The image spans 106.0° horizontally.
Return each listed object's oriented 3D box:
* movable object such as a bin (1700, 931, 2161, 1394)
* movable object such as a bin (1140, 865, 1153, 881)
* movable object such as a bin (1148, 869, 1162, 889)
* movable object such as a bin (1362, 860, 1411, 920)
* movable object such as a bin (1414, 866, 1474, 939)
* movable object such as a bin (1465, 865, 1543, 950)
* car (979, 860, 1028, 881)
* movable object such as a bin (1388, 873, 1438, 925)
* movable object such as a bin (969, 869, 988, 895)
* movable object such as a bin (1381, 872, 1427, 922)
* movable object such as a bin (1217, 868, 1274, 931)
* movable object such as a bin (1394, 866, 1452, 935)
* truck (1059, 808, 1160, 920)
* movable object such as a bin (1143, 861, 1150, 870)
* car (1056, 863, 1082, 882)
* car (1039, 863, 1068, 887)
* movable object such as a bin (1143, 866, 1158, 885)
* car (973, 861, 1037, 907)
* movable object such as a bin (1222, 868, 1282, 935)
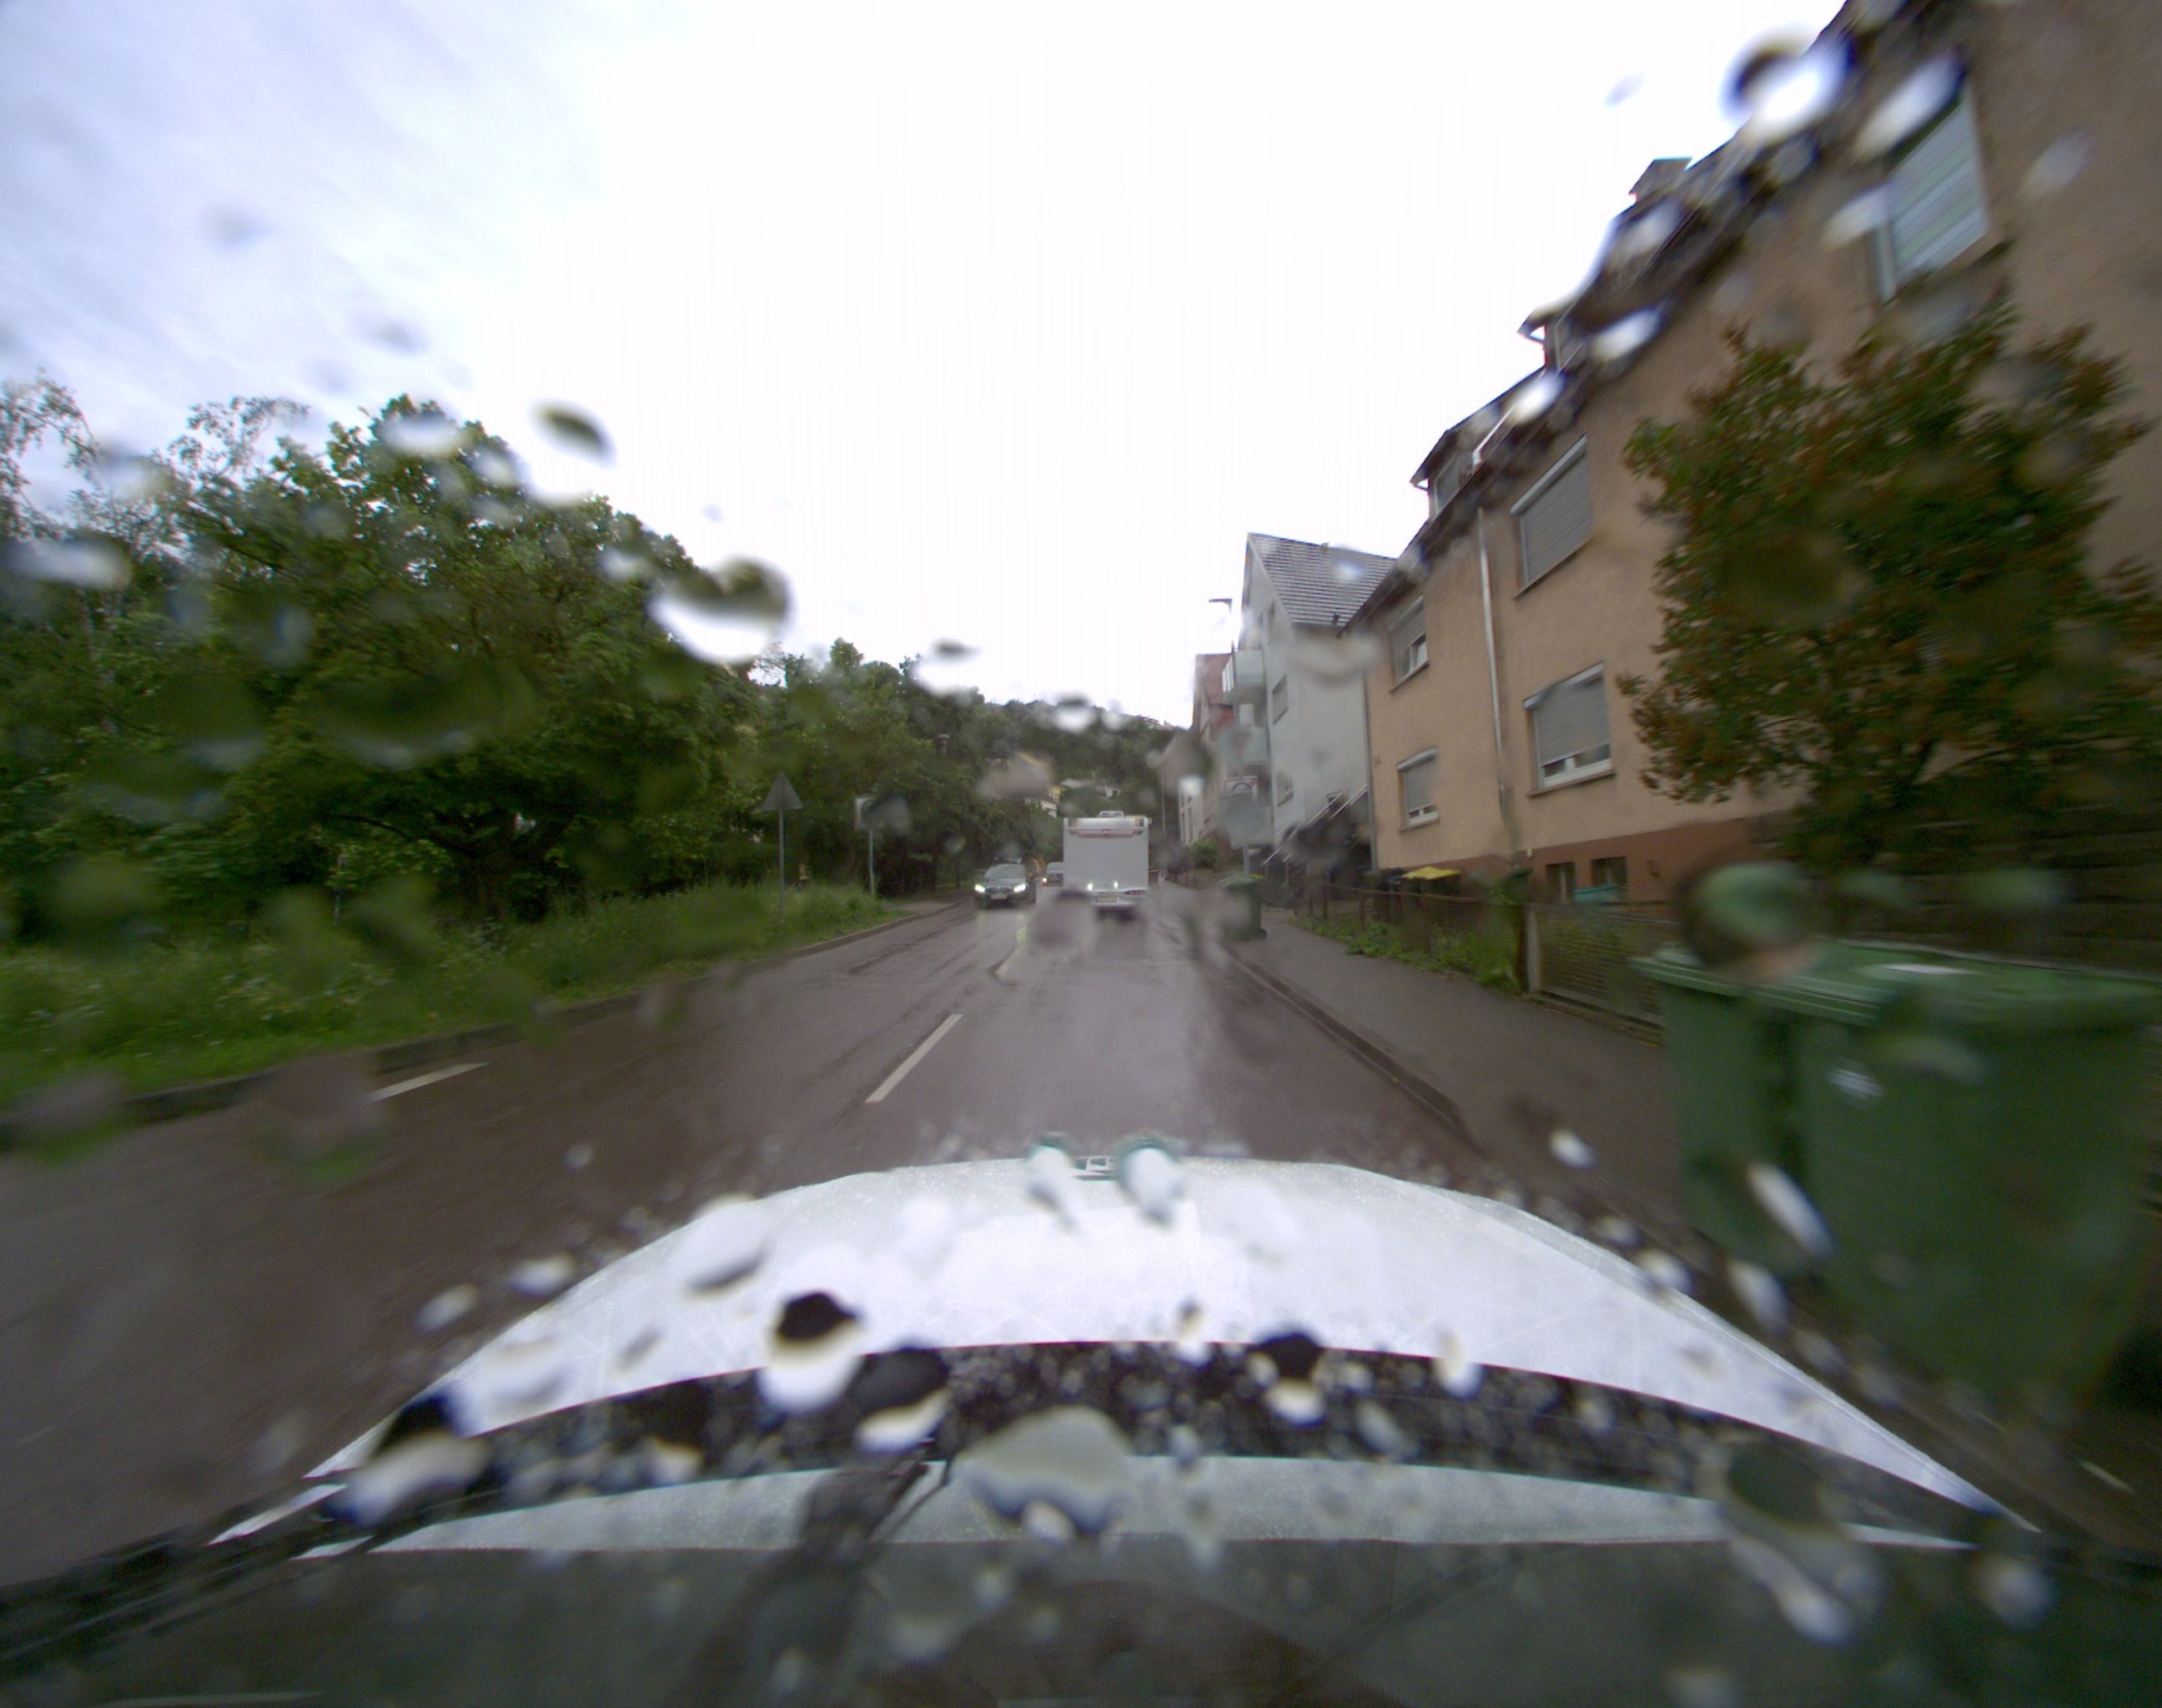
[{"bbox_3d":[2.482,0.791,2.393,0.716,1.052,0.801,-1,-1,4],"label":"movable object such as a bin"},{"bbox_3d":[4.347,1.274,54.159,0.832,1.061,0.750,-1,-1,3],"label":"movable object such as a bin"},{"bbox_3d":[3.556,1.198,39.270,0.628,0.897,0.712,-1,-1,2],"label":"movable object such as a bin"},{"bbox_3d":[5.948,0.695,15.886,0.658,1.093,0.545,-5,-1,-1],"label":"movable object such as a bin"},{"bbox_3d":[5.921,0.780,13.312,0.643,1.093,0.545,-5,-1,-1],"label":"movable object such as a bin"},{"bbox_3d":[5.878,0.730,11.357,0.658,1.093,0.655,-5,-1,0],"label":"movable object such as a bin"},{"bbox_3d":[-7.084,1.495,74.704,4.088,1.800,2.002,-1,-1,3],"label":"car"},{"bbox_3d":[5.986,0.798,14.698,0.667,0.895,0.536,-1,-1,1],"label":"movable object such as a bin"},{"bbox_3d":[-4.412,1.217,35.169,0.718,1.100,0.758,0,-1,2],"label":"movable object such as a bin"},{"bbox_3d":[6.053,0.802,15.275,0.635,0.895,0.536,-1,-1,1],"label":"movable object such as a bin"},{"bbox_3d":[3.008,0.820,14.945,0.910,1.103,0.703,-1,-1,4],"label":"movable object such as a bin"},{"bbox_3d":[5.852,0.788,13.968,0.658,1.093,0.545,-5,-1,-1],"label":"movable object such as a bin"},{"bbox_3d":[0.850,0.293,23.857,2.505,2.818,6.204,-1,-1,2],"label":"truck"},{"bbox_3d":[7.976,1.408,99.459,0.670,1.139,0.620,-1,-1,-28],"label":"movable object such as a bin"},{"bbox_3d":[-1.055,1.605,73.298,1.909,1.623,4.367,-1,-1,4],"label":"car"},{"bbox_3d":[-1.695,1.328,51.688,1.613,1.441,3.737,-1,-1,1],"label":"car"},{"bbox_3d":[3.970,1.236,46.705,0.793,1.070,0.761,-1,-1,3],"label":"movable object such as a bin"},{"bbox_3d":[-2.538,0.985,27.852,1.713,1.430,3.845,-1,-1,1],"label":"car"},{"bbox_3d":[2.965,0.813,14.197,0.910,1.103,0.703,-1,-1,4],"label":"movable object such as a bin"}]
